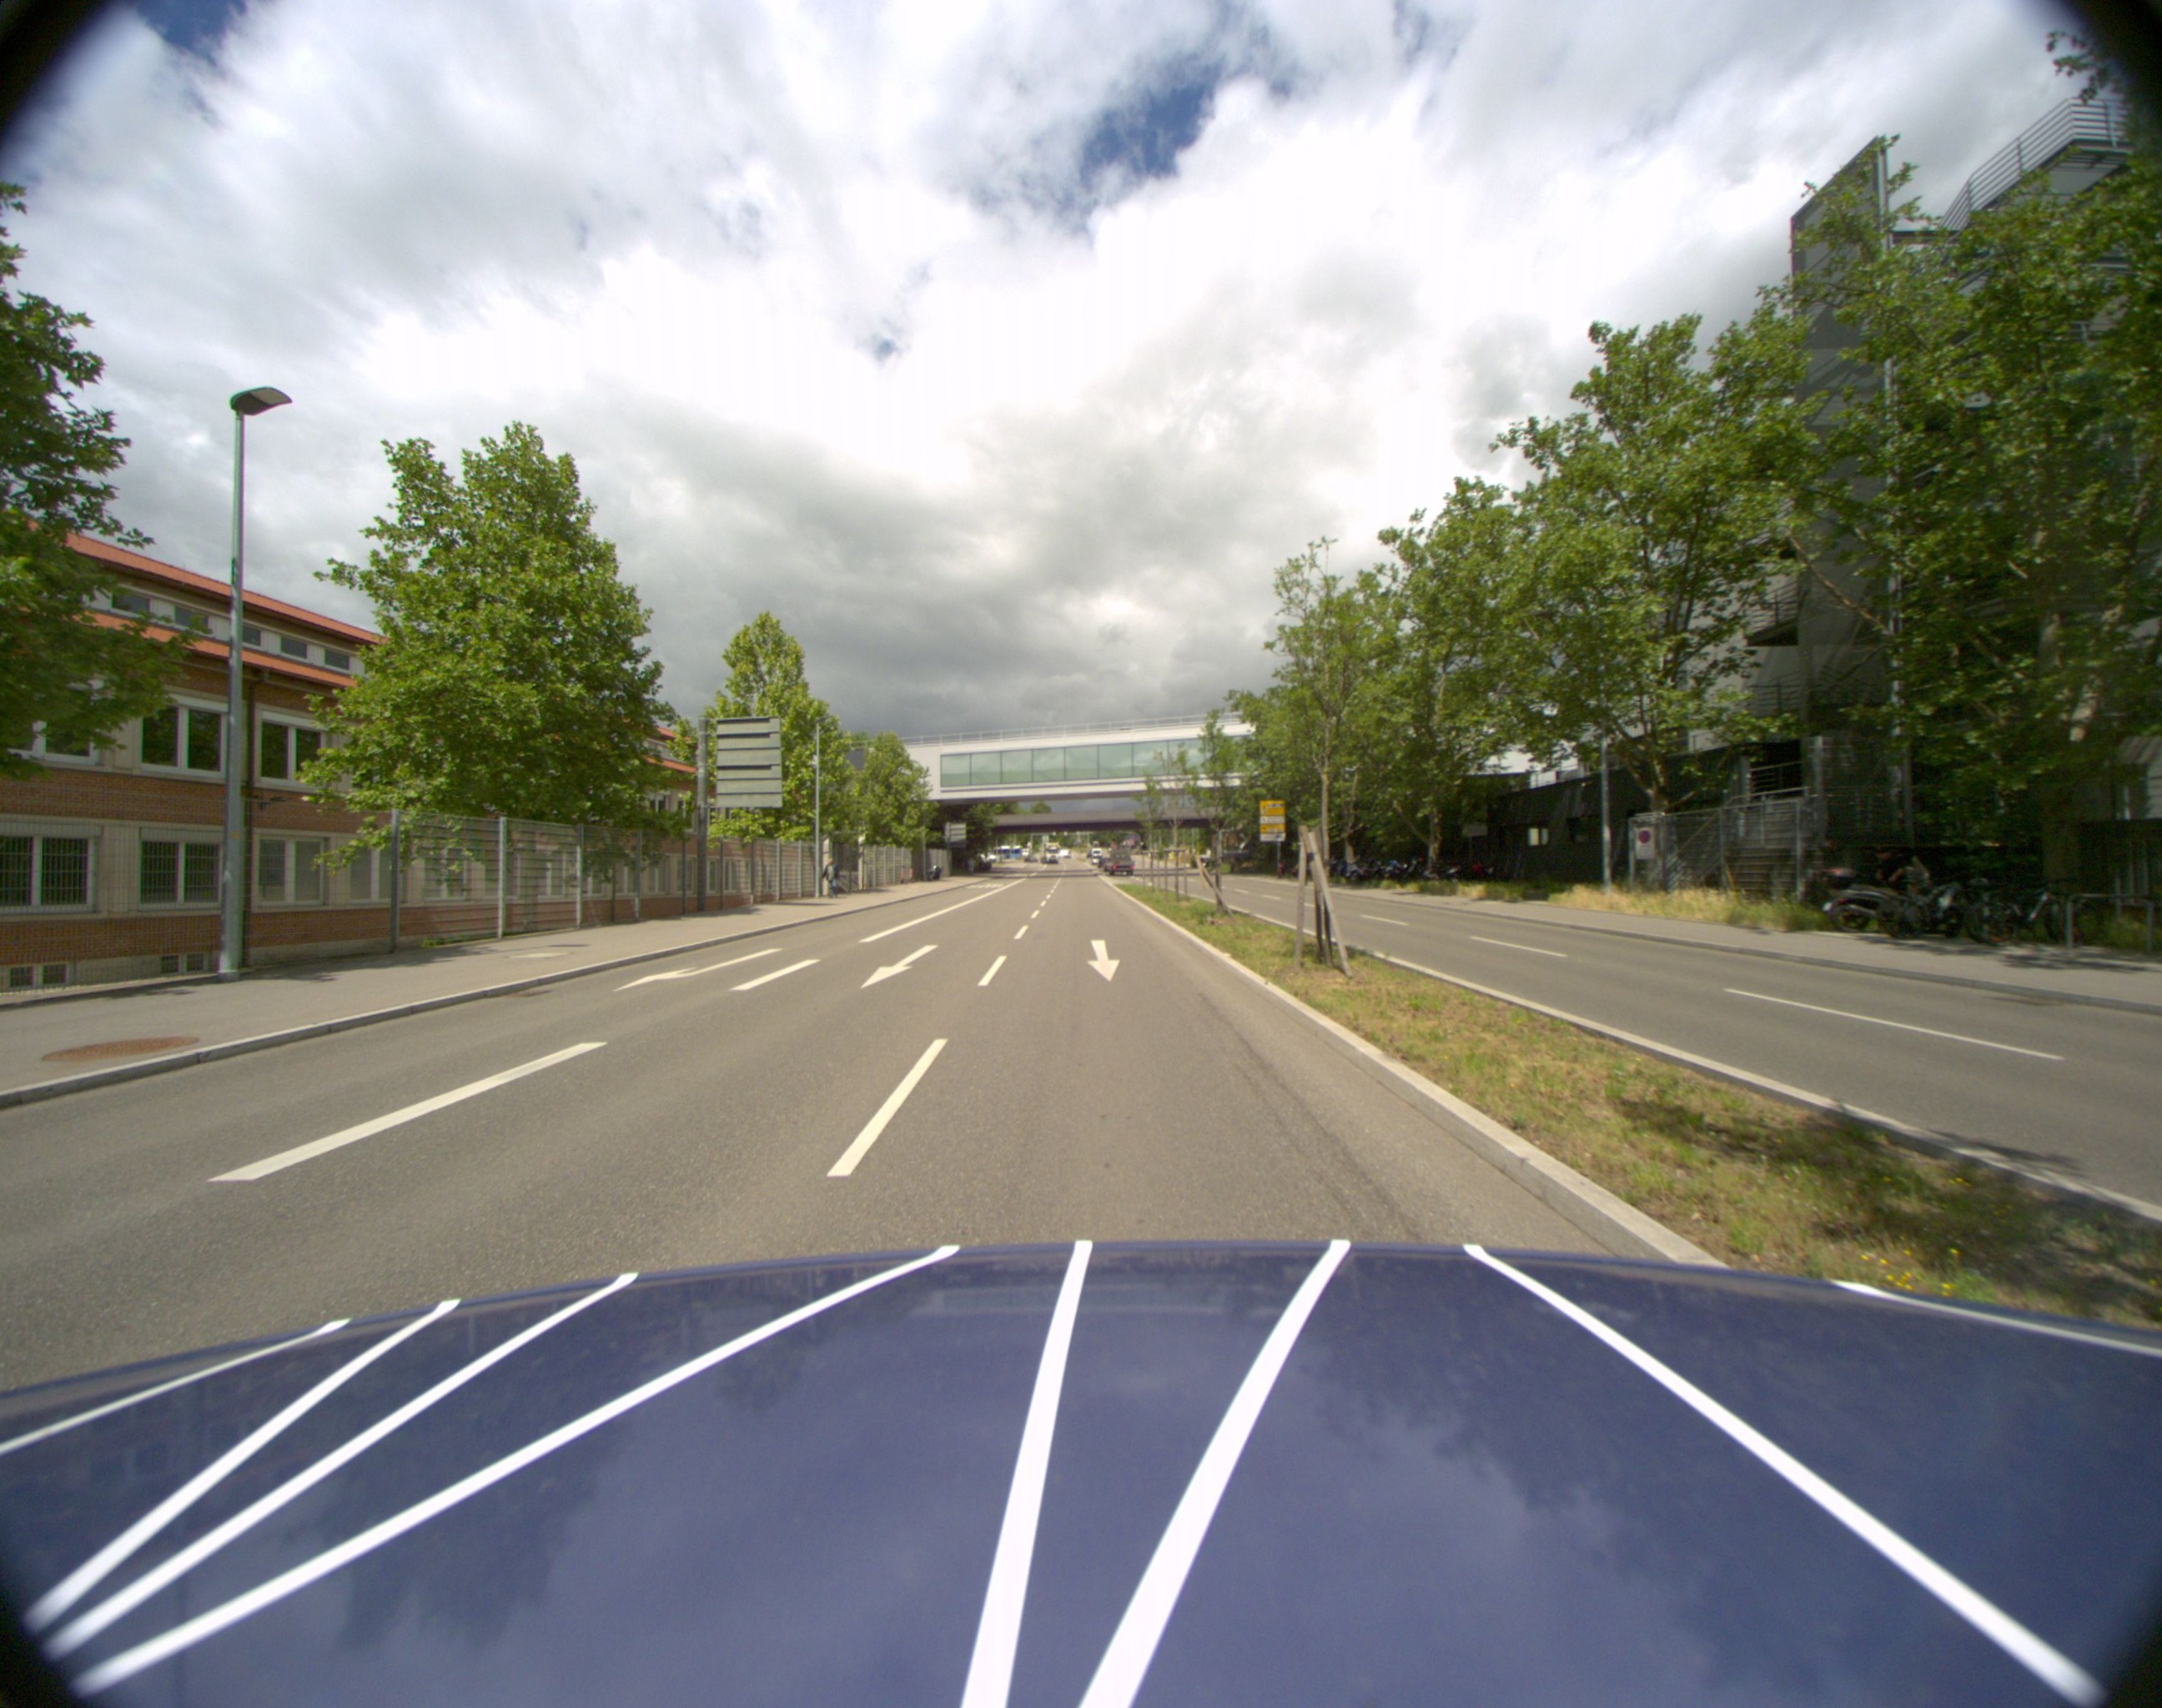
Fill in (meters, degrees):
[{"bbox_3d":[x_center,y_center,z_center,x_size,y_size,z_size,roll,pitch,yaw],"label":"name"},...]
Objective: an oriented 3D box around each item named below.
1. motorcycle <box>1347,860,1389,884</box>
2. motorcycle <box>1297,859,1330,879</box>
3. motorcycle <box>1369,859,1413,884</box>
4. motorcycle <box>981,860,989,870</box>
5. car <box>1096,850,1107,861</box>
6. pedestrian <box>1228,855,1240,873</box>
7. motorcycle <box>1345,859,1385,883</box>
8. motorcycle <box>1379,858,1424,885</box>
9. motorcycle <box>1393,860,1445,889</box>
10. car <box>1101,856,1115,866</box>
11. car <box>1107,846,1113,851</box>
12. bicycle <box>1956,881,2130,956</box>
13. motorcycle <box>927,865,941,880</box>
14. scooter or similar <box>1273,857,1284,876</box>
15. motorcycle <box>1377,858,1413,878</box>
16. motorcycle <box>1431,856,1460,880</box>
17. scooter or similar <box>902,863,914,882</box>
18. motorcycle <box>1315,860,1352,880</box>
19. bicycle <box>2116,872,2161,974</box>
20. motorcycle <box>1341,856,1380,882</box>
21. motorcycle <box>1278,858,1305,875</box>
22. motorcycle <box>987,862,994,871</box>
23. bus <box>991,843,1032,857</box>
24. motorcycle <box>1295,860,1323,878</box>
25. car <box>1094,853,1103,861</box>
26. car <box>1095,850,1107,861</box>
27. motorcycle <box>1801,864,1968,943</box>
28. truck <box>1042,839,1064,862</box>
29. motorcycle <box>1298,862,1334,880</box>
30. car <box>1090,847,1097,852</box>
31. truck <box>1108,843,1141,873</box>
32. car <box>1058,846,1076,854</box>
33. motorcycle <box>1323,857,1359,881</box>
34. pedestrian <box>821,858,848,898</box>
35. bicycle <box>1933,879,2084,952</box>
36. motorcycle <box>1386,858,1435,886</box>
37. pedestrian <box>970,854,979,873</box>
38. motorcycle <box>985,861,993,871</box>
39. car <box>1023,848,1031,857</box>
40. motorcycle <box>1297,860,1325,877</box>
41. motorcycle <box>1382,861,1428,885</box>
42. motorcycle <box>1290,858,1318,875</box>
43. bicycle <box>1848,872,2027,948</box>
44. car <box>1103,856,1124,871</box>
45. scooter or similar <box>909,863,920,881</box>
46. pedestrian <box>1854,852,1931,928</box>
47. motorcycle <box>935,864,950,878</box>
[{"bbox_3d":[15.006,0.953,39.810,1.881,1.172,0.815,-3,-1,9],"label":"motorcycle"},{"bbox_3d":[15.051,0.967,49.164,1.752,1.171,0.852,-3,-1,-11],"label":"motorcycle"},{"bbox_3d":[15.670,0.897,38.497,1.882,1.172,0.698,-3,-1,4],"label":"motorcycle"},{"bbox_3d":[-11.705,1.308,92.751,0.679,1.148,2.113,0,0,1],"label":"motorcycle"},{"bbox_3d":[4.574,0.295,166.220,2.045,2.458,5.574,-2,0,5],"label":"car"},{"bbox_3d":[13.487,0.876,66.835,0.769,1.602,0.813,-3,1,-1],"label":"pedestrian"},{"bbox_3d":[15.283,0.910,40.987,1.881,1.172,0.816,-3,-1,13],"label":"motorcycle"},{"bbox_3d":[15.802,0.854,37.489,1.882,1.202,0.655,-3,-1,4],"label":"motorcycle"},{"bbox_3d":[14.737,0.896,33.156,1.881,1.166,0.746,-3,-1,10],"label":"motorcycle"},{"bbox_3d":[3.738,0.962,105.621,1.713,1.445,4.479,-1,0,-1],"label":"car"},{"bbox_3d":[9.621,-1.824,250.489,1.998,1.478,4.000,-1,0,1],"label":"car"},{"bbox_3d":[14.682,0.973,11.615,2.086,1.056,0.497,-2,0,-2],"label":"bicycle"},{"bbox_3d":[-11.533,1.431,59.744,0.670,1.058,2.247,2,0,0],"label":"motorcycle"},{"bbox_3d":[13.363,0.845,51.413,0.355,1.229,1.479,-2,1,0],"label":"scooter or similar"},{"bbox_3d":[19.024,0.845,46.022,1.933,1.109,0.923,-4,-1,27],"label":"motorcycle"},{"bbox_3d":[18.734,0.717,39.094,0.654,1.202,1.984,-3,-1,5],"label":"motorcycle"},{"bbox_3d":[-11.947,1.298,52.547,0.492,1.287,1.336,0,0,0],"label":"scooter or similar"},{"bbox_3d":[15.395,1.004,46.348,1.933,1.109,0.923,-4,-1,27],"label":"motorcycle"},{"bbox_3d":[14.883,0.865,9.754,2.139,1.275,0.806,-2,0,-2],"label":"bicycle"},{"bbox_3d":[15.583,0.858,42.394,1.934,1.336,0.866,-4,-1,21],"label":"motorcycle"},{"bbox_3d":[15.288,0.907,55.155,1.745,1.164,0.777,-3,-1,8],"label":"motorcycle"},{"bbox_3d":[-11.587,1.580,97.601,0.679,1.076,2.038,0,0,-1],"label":"motorcycle"},{"bbox_3d":[-17.187,-1.058,187.388,9.779,2.919,2.652,-2,1,1],"label":"bus"},{"bbox_3d":[15.492,1.015,51.589,1.595,1.116,0.776,-3,-1,1],"label":"motorcycle"},{"bbox_3d":[3.393,0.512,145.852,1.510,1.480,3.115,-1,0,-2],"label":"car"},{"bbox_3d":[3.272,0.209,126.904,1.813,1.770,4.977,-1,0,0],"label":"car"},{"bbox_3d":[14.257,0.863,13.516,2.139,1.301,0.806,-2,0,-2],"label":"motorcycle"},{"bbox_3d":[-5.333,-0.598,143.532,2.789,3.981,10.078,-2,0,-9],"label":"truck"},{"bbox_3d":[14.822,1.057,47.944,1.939,1.109,0.920,1,1,-11],"label":"motorcycle"},{"bbox_3d":[3.270,-1.135,197.858,1.998,1.346,4.000,-1,0,1],"label":"car"},{"bbox_3d":[4.147,0.382,73.316,2.486,2.734,6.456,-1,0,-3],"label":"truck"},{"bbox_3d":[-3.375,-1.050,183.835,1.832,1.796,4.243,-2,0,-42],"label":"car"},{"bbox_3d":[15.406,0.884,44.972,1.934,1.283,0.894,-4,-1,21],"label":"motorcycle"},{"bbox_3d":[-11.104,1.078,34.253,0.879,1.733,0.940,1,0,0],"label":"pedestrian"},{"bbox_3d":[14.738,0.972,12.084,1.929,1.068,0.422,-2,0,-2],"label":"bicycle"},{"bbox_3d":[15.261,0.837,35.212,1.881,1.179,0.730,-3,0,8],"label":"motorcycle"},{"bbox_3d":[-10.906,0.977,77.983,0.791,1.876,1.097,0,1,-1],"label":"pedestrian"},{"bbox_3d":[-11.537,1.502,95.202,0.679,1.136,2.160,0,0,-1],"label":"motorcycle"},{"bbox_3d":[-14.668,-0.346,206.820,1.999,2.267,3.998,-1,0,-6],"label":"car"},{"bbox_3d":[15.204,0.966,50.240,1.595,1.027,0.776,-3,-1,1],"label":"motorcycle"},{"bbox_3d":[15.481,0.905,36.394,1.880,1.078,0.795,-3,-1,15],"label":"motorcycle"},{"bbox_3d":[15.490,0.886,52.745,1.596,1.116,0.776,-3,-1,-9],"label":"motorcycle"},{"bbox_3d":[14.424,0.921,12.832,2.139,1.173,0.806,-2,0,-2],"label":"bicycle"},{"bbox_3d":[3.603,1.014,85.151,1.910,1.621,4.291,-1,0,-4],"label":"car"},{"bbox_3d":[-11.957,1.265,54.562,0.492,1.287,1.336,0,0,0],"label":"scooter or similar"},{"bbox_3d":[17.039,0.749,15.974,0.755,1.542,0.821,-1,0,10],"label":"pedestrian"},{"bbox_3d":[-11.455,1.379,62.873,0.709,1.058,2.510,2,0,0],"label":"motorcycle"}]
